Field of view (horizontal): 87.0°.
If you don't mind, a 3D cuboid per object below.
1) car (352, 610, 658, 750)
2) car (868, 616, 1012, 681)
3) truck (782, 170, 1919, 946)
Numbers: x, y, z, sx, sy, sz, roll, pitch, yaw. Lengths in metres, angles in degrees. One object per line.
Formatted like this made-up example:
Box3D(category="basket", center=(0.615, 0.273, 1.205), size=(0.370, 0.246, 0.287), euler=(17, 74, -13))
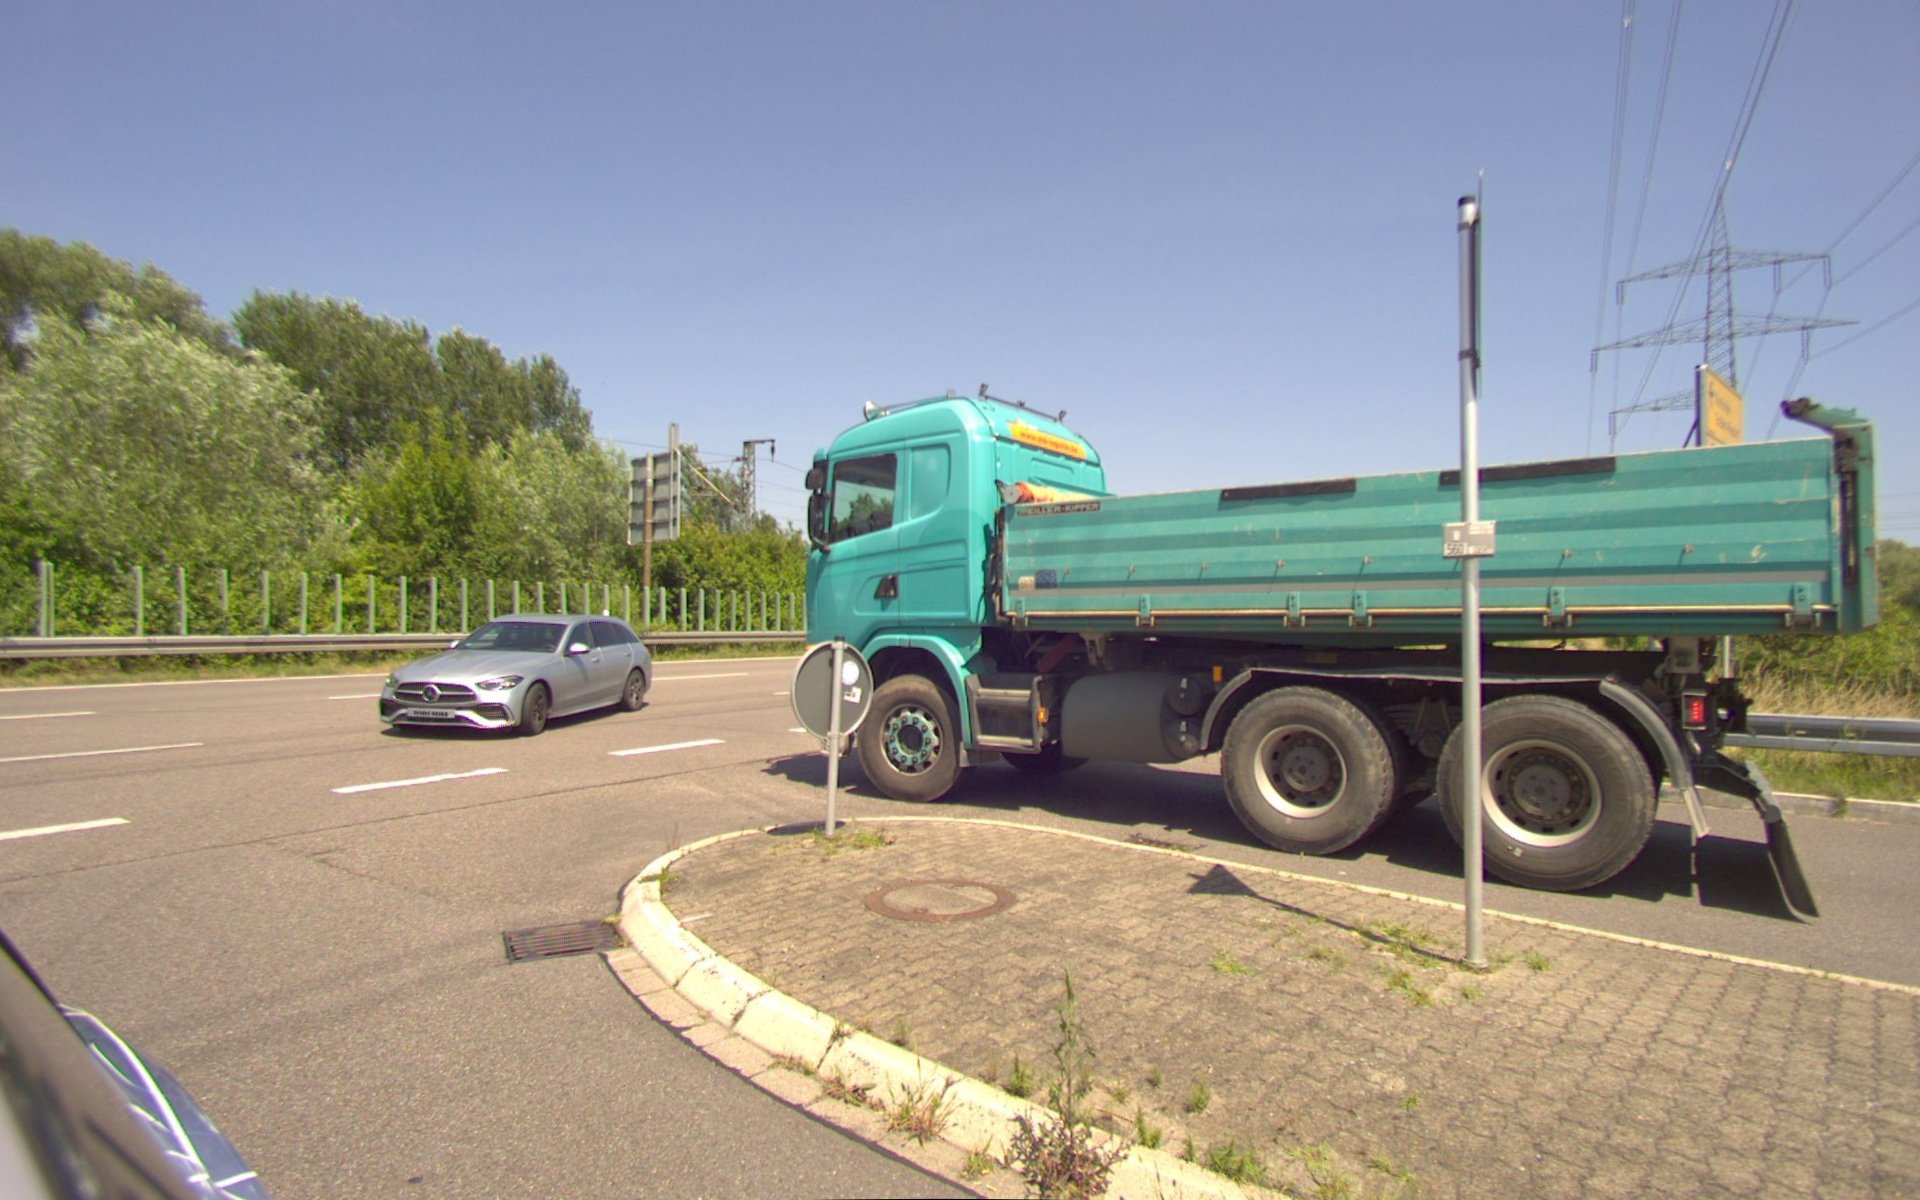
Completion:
Box3D(category="car", center=(-5.880, 0.932, 13.718), size=(1.805, 1.498, 4.137), euler=(3, 0, 9))
Box3D(category="car", center=(-0.428, 1.214, 26.199), size=(1.819, 1.450, 4.106), euler=(3, 0, 30))
Box3D(category="truck", center=(2.200, -0.101, 7.805), size=(7.597, 3.498, 2.577), euler=(-1, -3, 37))
